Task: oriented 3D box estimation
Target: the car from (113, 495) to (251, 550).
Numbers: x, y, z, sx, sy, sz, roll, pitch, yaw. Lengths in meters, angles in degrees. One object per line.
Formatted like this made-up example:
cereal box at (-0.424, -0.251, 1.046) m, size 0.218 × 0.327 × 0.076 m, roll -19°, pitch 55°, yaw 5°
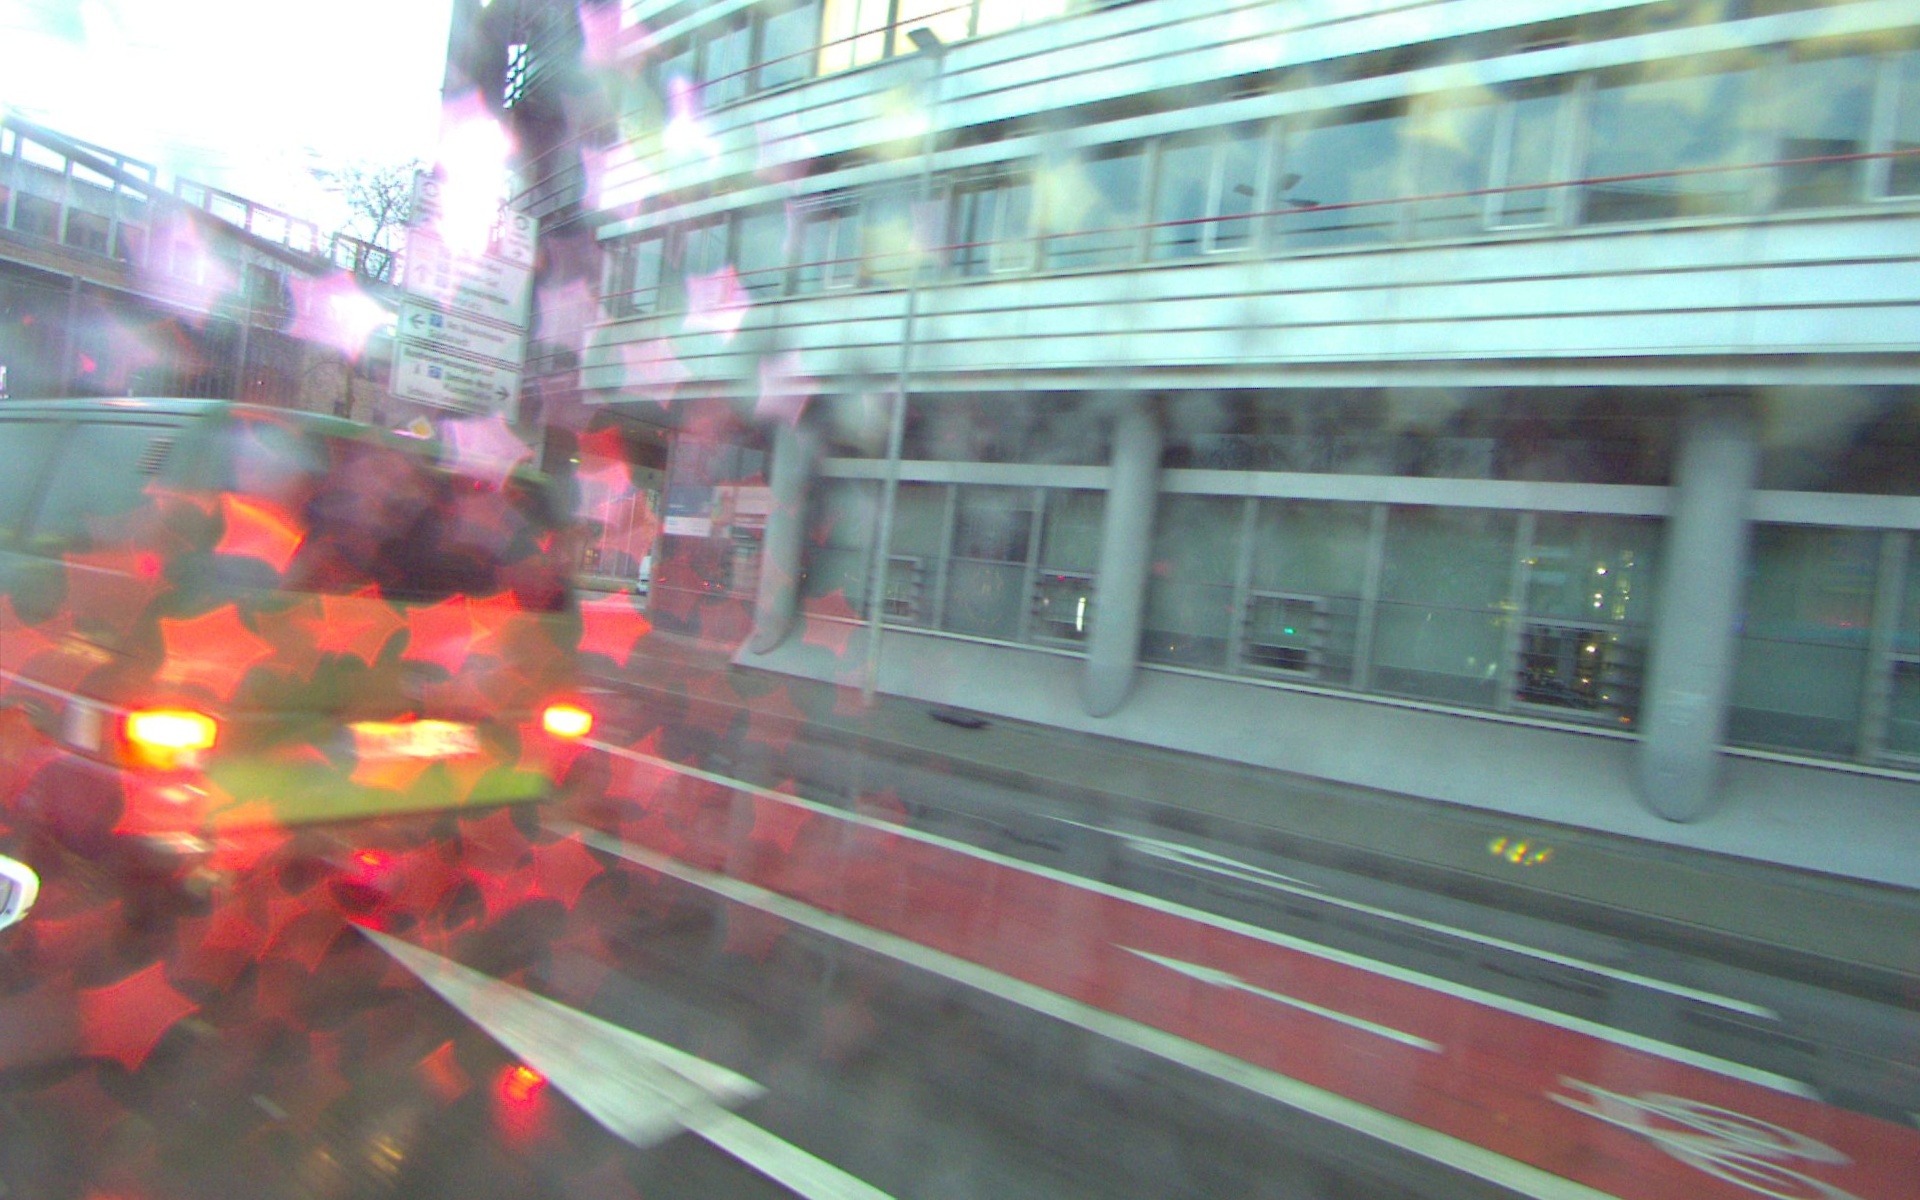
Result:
car at (-32.073, -3.158, 41.599) m, size 1.814 × 1.523 × 3.997 m, roll 12°, pitch 2°, yaw 26°

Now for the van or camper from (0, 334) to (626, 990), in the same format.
van or camper at (-3.883, 0.037, 4.830) m, size 4.345 × 1.929 × 1.760 m, roll 7°, pitch -1°, yaw 31°

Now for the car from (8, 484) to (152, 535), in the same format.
car at (-36.207, -3.694, 41.520) m, size 1.814 × 1.278 × 3.997 m, roll 12°, pitch 2°, yaw 26°
